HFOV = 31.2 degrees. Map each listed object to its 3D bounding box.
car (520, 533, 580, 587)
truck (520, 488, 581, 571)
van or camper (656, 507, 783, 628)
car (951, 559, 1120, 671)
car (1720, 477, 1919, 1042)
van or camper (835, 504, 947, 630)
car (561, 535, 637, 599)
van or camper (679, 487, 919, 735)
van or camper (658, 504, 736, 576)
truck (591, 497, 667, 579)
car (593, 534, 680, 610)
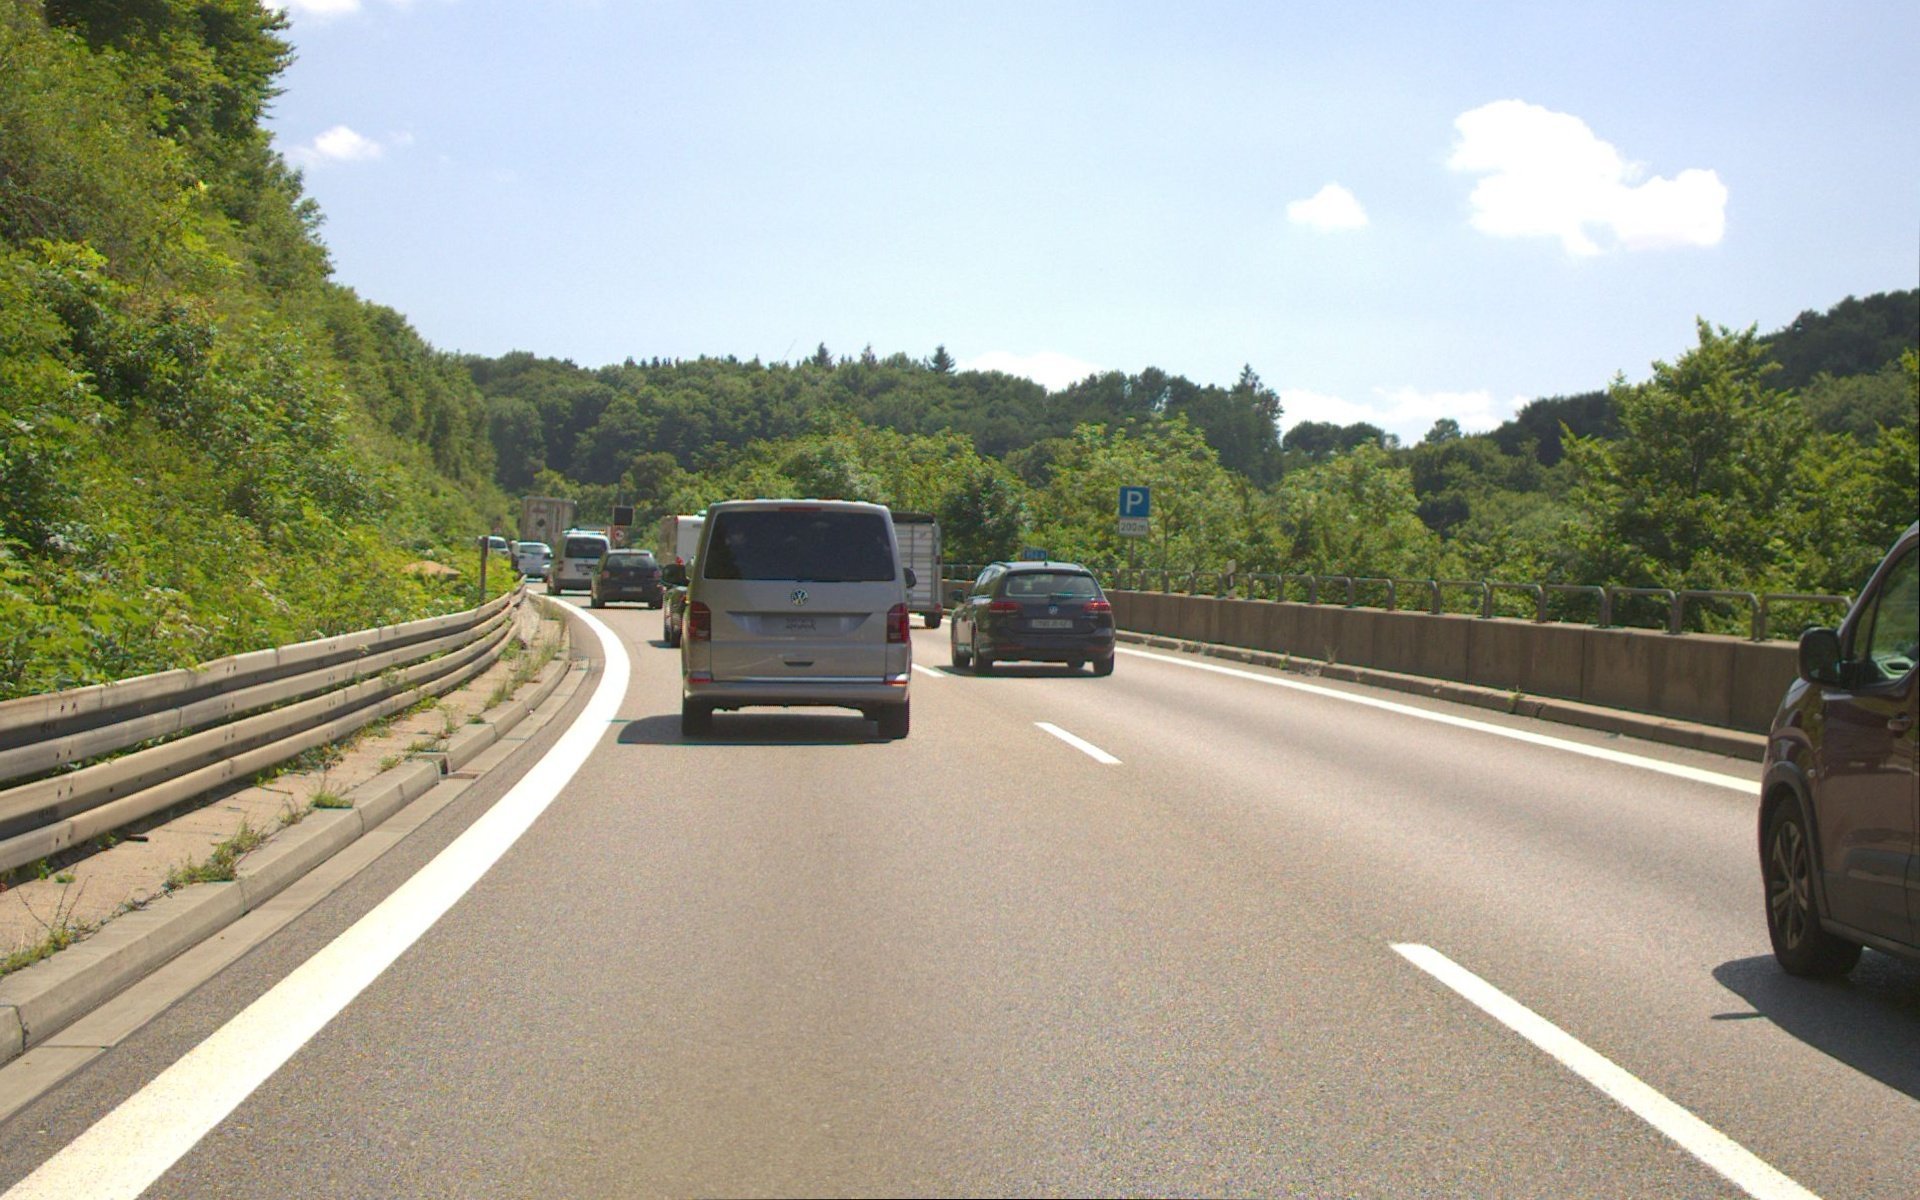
[{"bbox_3d":[-14.959,-1.467,125.361,1.993,1.908,4.001,1,1,-9],"label":"car"},{"bbox_3d":[-23.048,-3.921,193.186,3.291,4.504,7.731,1,1,-7],"label":"truck"},{"bbox_3d":[-7.950,-1.096,112.805,3.275,3.776,8.114,1,1,-10],"label":"van or camper"},{"bbox_3d":[0.948,0.167,44.951,1.768,1.371,3.593,1,1,-6],"label":"car"},{"bbox_3d":[3.942,0.514,11.088,1.833,1.778,4.676,1,0,-1],"label":"car"},{"bbox_3d":[-1.407,-0.686,71.732,2.264,2.542,4.736,0,0,0],"label":"van or camper"},{"bbox_3d":[-10.608,-0.988,101.218,1.993,1.811,4.001,1,1,-3],"label":"car"},{"bbox_3d":[-1.385,0.069,29.372,1.875,1.943,4.294,1,0,-3],"label":"van or camper"},{"bbox_3d":[-14.194,-3.248,186.212,3.276,3.776,8.111,1,1,2],"label":"van or camper"},{"bbox_3d":[-17.928,-3.320,186.580,3.291,4.317,7.729,0,0,1],"label":"truck"},{"bbox_3d":[-8.043,-0.709,85.243,1.993,1.811,4.001,1,1,-7],"label":"car"}]
